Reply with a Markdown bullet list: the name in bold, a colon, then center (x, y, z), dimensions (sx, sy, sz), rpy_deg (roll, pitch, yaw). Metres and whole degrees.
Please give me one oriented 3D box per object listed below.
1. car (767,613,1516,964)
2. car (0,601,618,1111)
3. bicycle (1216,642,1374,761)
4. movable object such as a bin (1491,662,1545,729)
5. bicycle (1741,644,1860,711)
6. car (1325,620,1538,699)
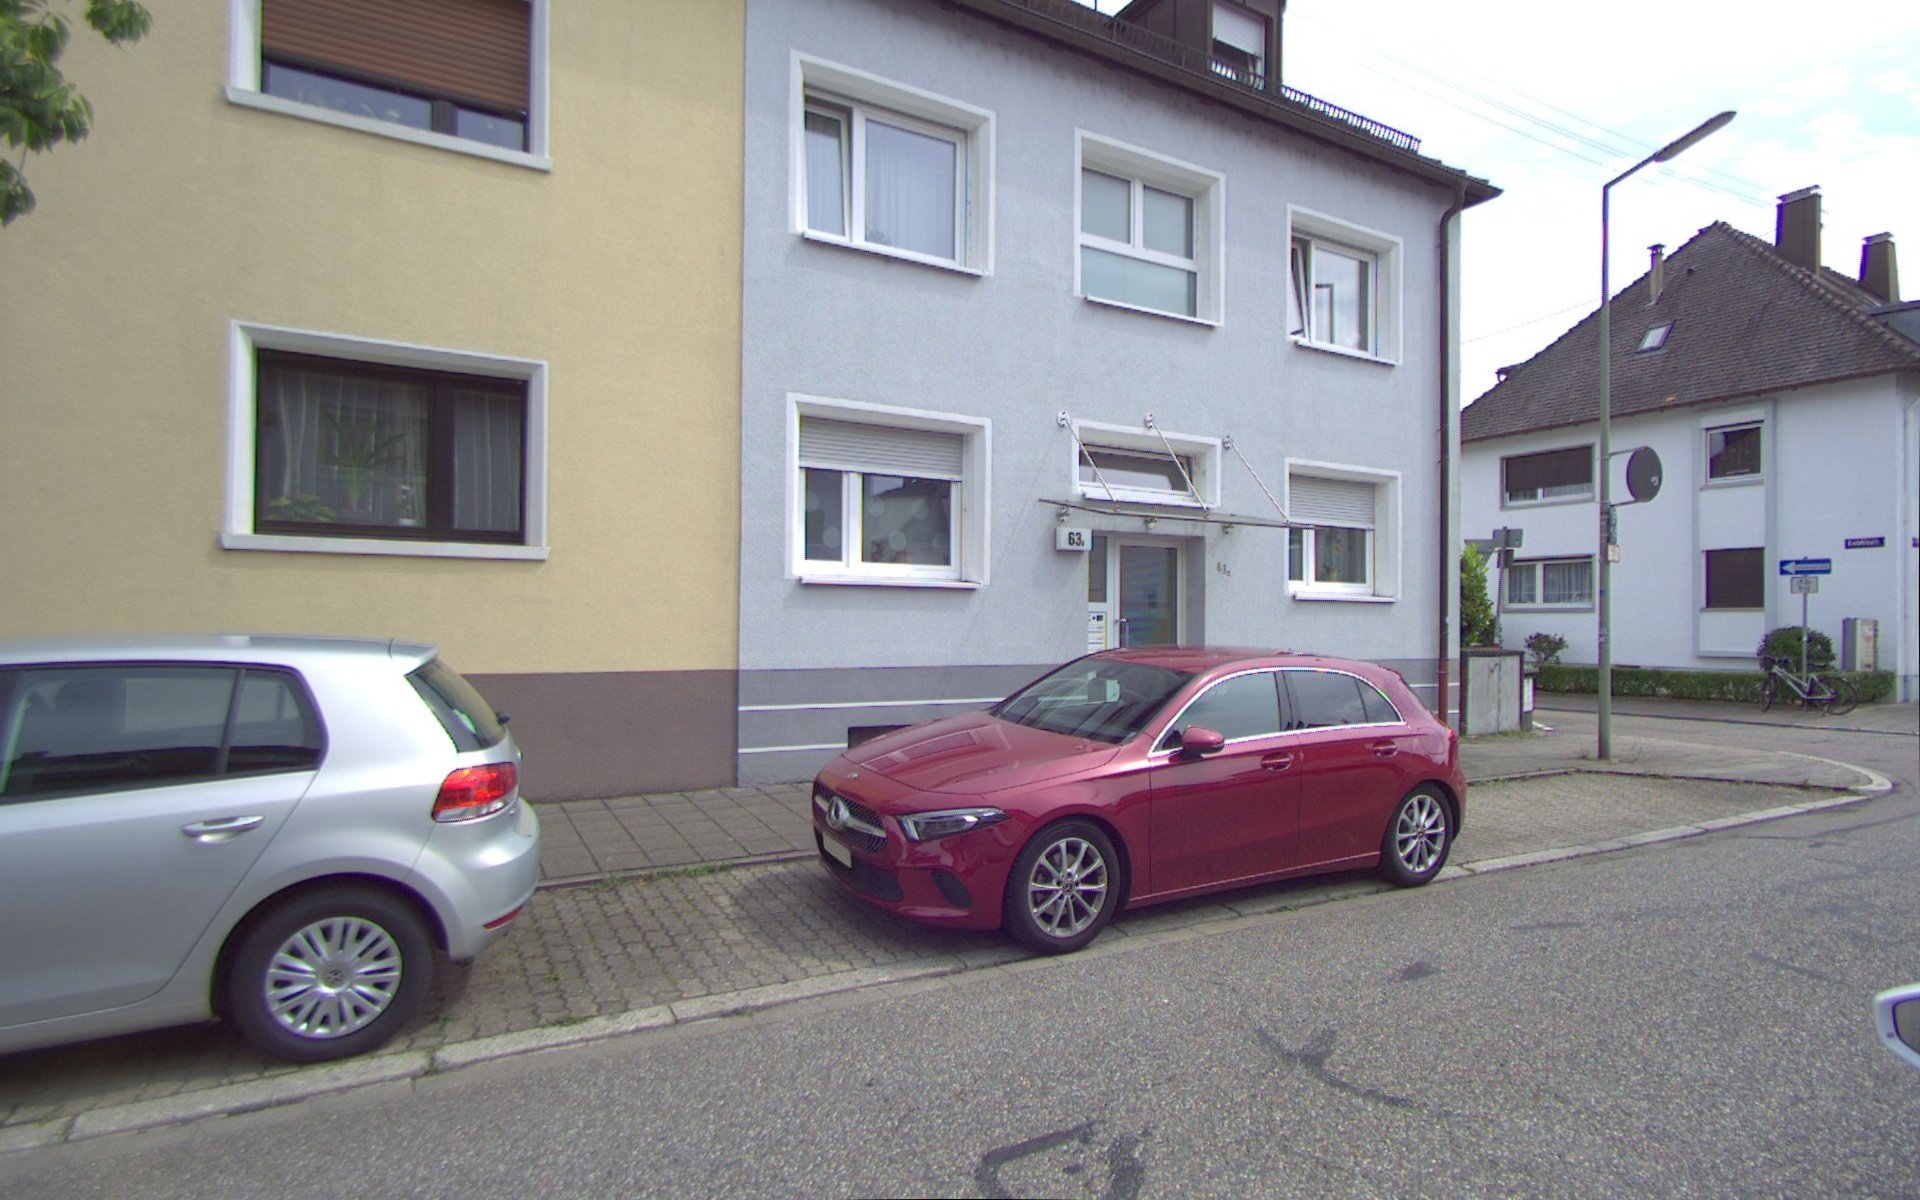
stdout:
- **car**: center (1.229, 0.909, 6.280), dimensions (4.458, 1.505, 1.869), rpy_deg (1, -4, -30)
- **car**: center (-3.600, 0.781, 3.637), dimensions (4.222, 1.411, 1.764), rpy_deg (1, 4, -29)
- **bicycle**: center (3.617, 1.055, 10.785), dimensions (1.851, 1.168, 0.488), rpy_deg (1, 1, -30)
- **movable object such as a bin**: center (7.943, 1.350, 14.301), dimensions (0.471, 0.918, 0.483), rpy_deg (2, -4, -35)
- **bicycle**: center (15.778, 1.444, 18.905), dimensions (0.430, 1.194, 1.625), rpy_deg (1, -4, -33)
- **car**: center (9.456, 1.216, 20.465), dimensions (1.641, 1.441, 3.746), rpy_deg (1, -4, -25)
